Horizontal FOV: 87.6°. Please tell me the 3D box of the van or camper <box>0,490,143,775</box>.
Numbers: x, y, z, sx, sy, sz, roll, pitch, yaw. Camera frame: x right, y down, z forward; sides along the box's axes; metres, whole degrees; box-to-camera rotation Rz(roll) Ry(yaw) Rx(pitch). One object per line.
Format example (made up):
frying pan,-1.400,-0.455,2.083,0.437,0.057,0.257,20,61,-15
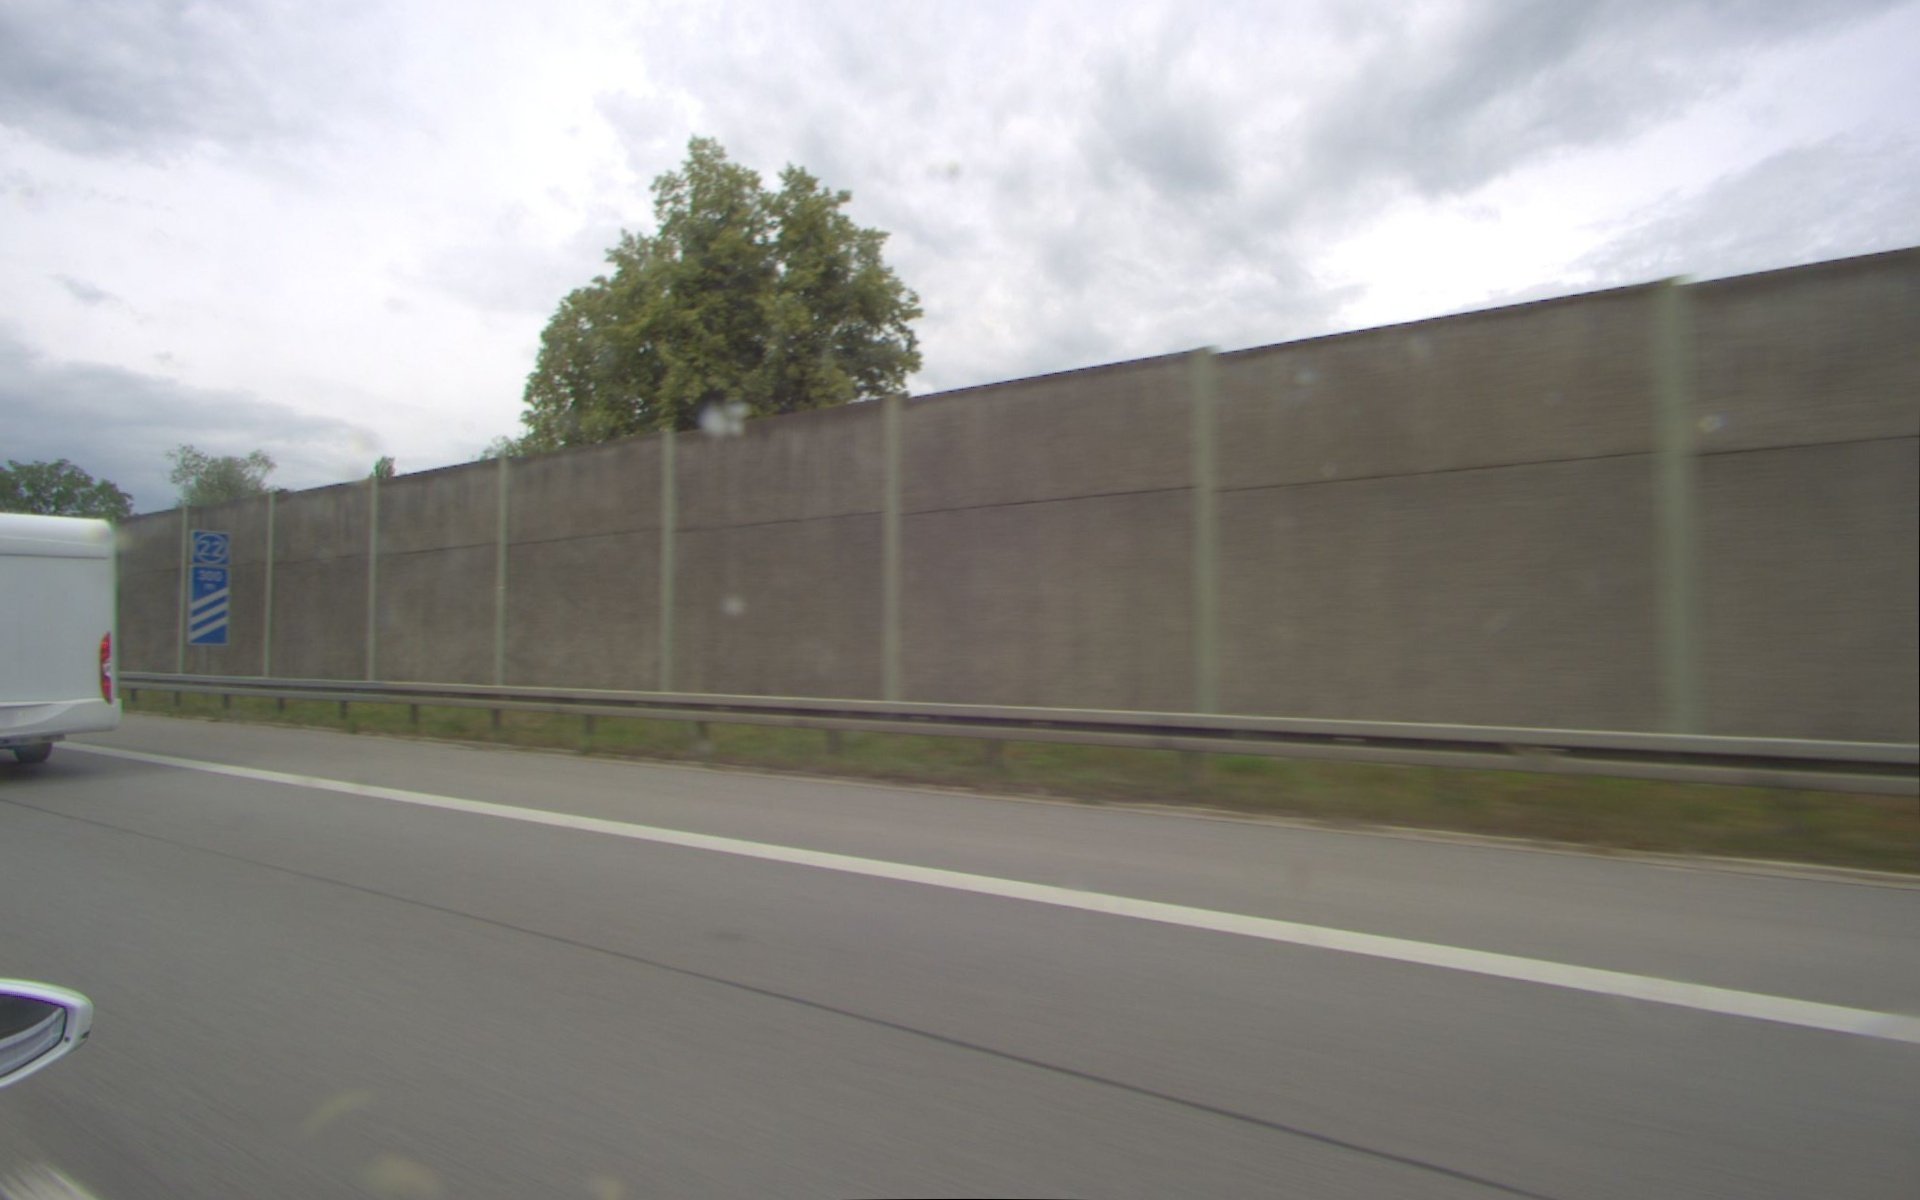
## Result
van or camper,-12.292,0.366,11.394,7.121,2.730,2.426,-1,-2,32
